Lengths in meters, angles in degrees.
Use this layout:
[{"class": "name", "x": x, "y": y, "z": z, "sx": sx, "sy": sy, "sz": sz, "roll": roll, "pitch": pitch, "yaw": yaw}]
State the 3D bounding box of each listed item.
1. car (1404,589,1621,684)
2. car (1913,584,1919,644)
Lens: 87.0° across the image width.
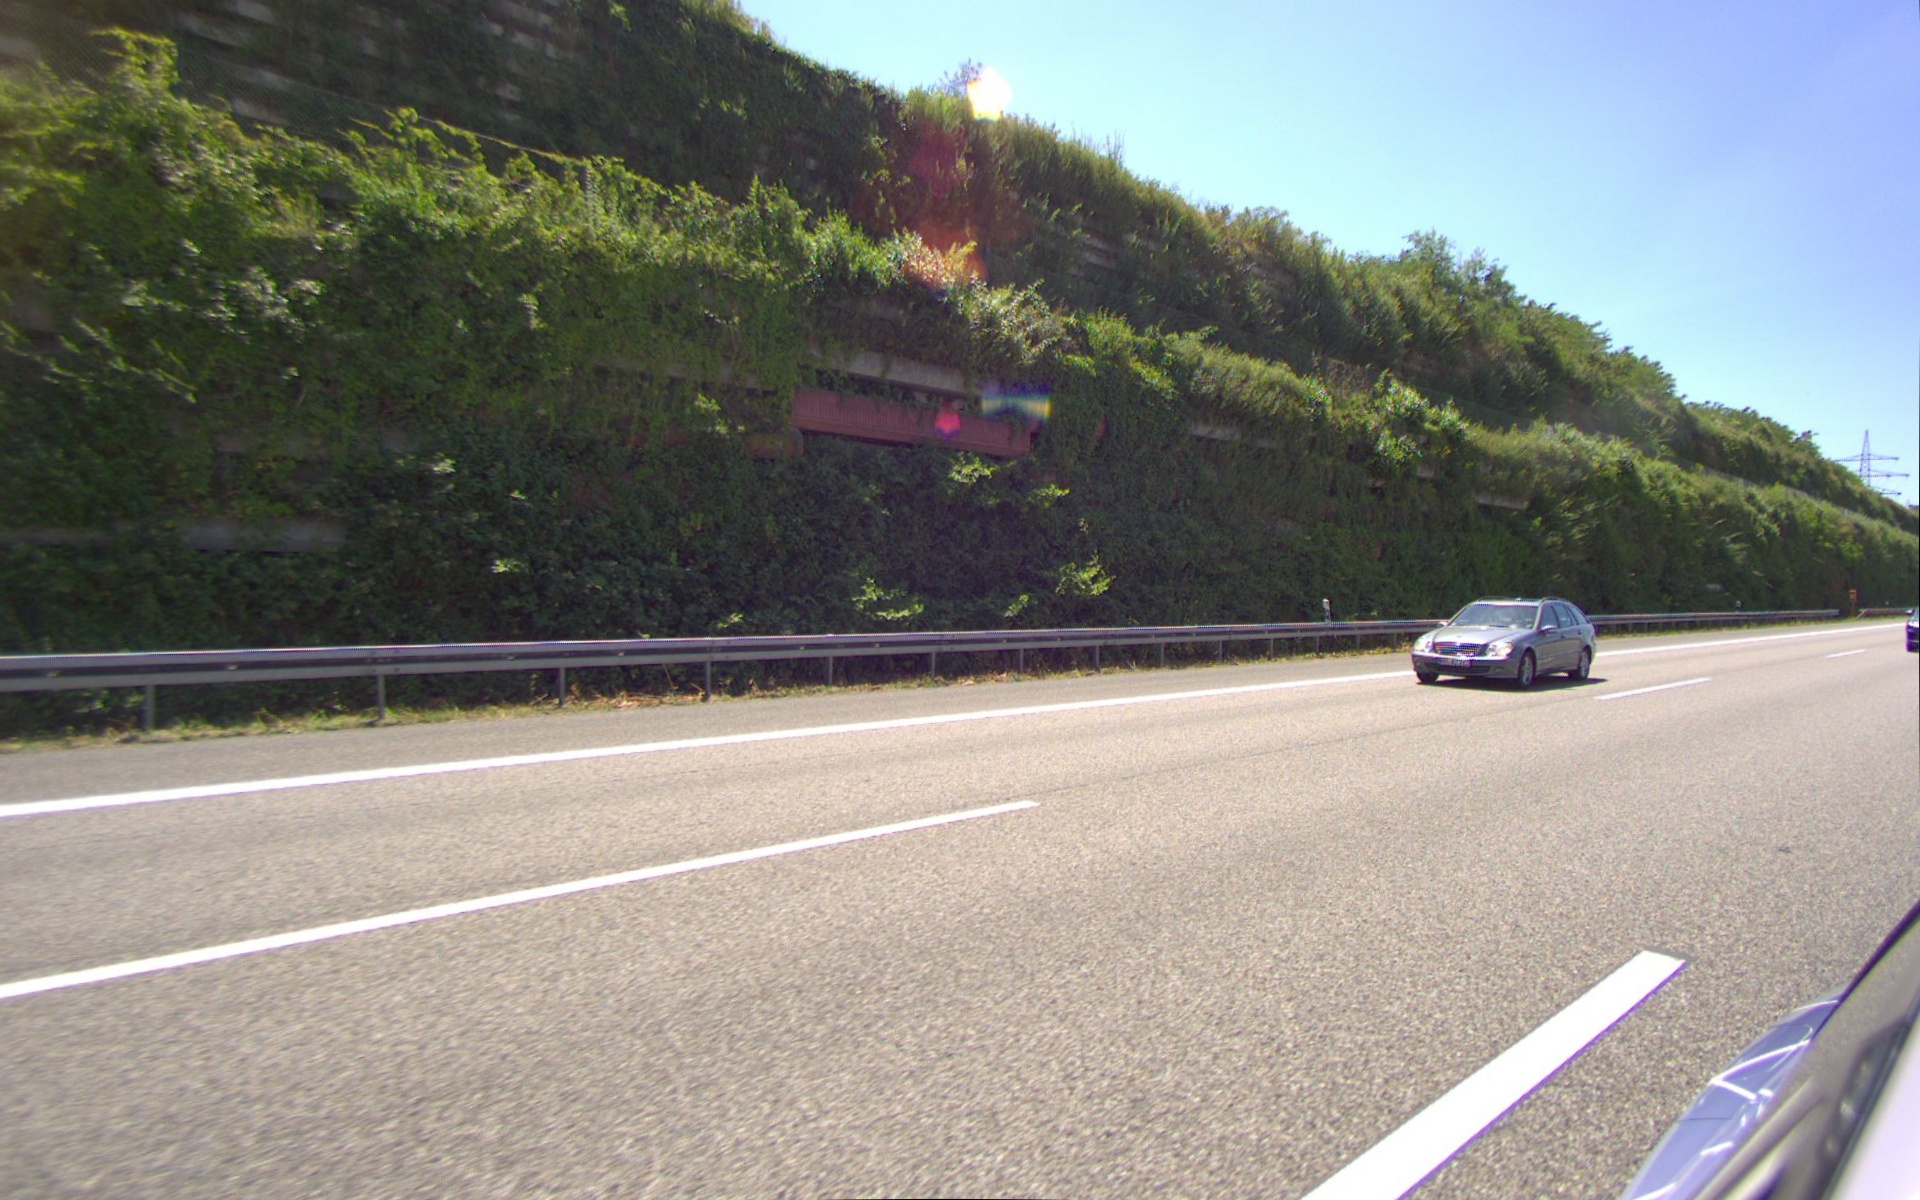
[{"class": "car", "x": 9.607, "y": 0.532, "z": 17.449, "sx": 4.478, "sy": 1.429, "sz": 1.839, "roll": 0, "pitch": 1, "yaw": -41}, {"class": "car", "x": 29.468, "y": 0.401, "z": 29.516, "sx": 4.478, "sy": 1.701, "sz": 1.983, "roll": 0, "pitch": 1, "yaw": -41}]
